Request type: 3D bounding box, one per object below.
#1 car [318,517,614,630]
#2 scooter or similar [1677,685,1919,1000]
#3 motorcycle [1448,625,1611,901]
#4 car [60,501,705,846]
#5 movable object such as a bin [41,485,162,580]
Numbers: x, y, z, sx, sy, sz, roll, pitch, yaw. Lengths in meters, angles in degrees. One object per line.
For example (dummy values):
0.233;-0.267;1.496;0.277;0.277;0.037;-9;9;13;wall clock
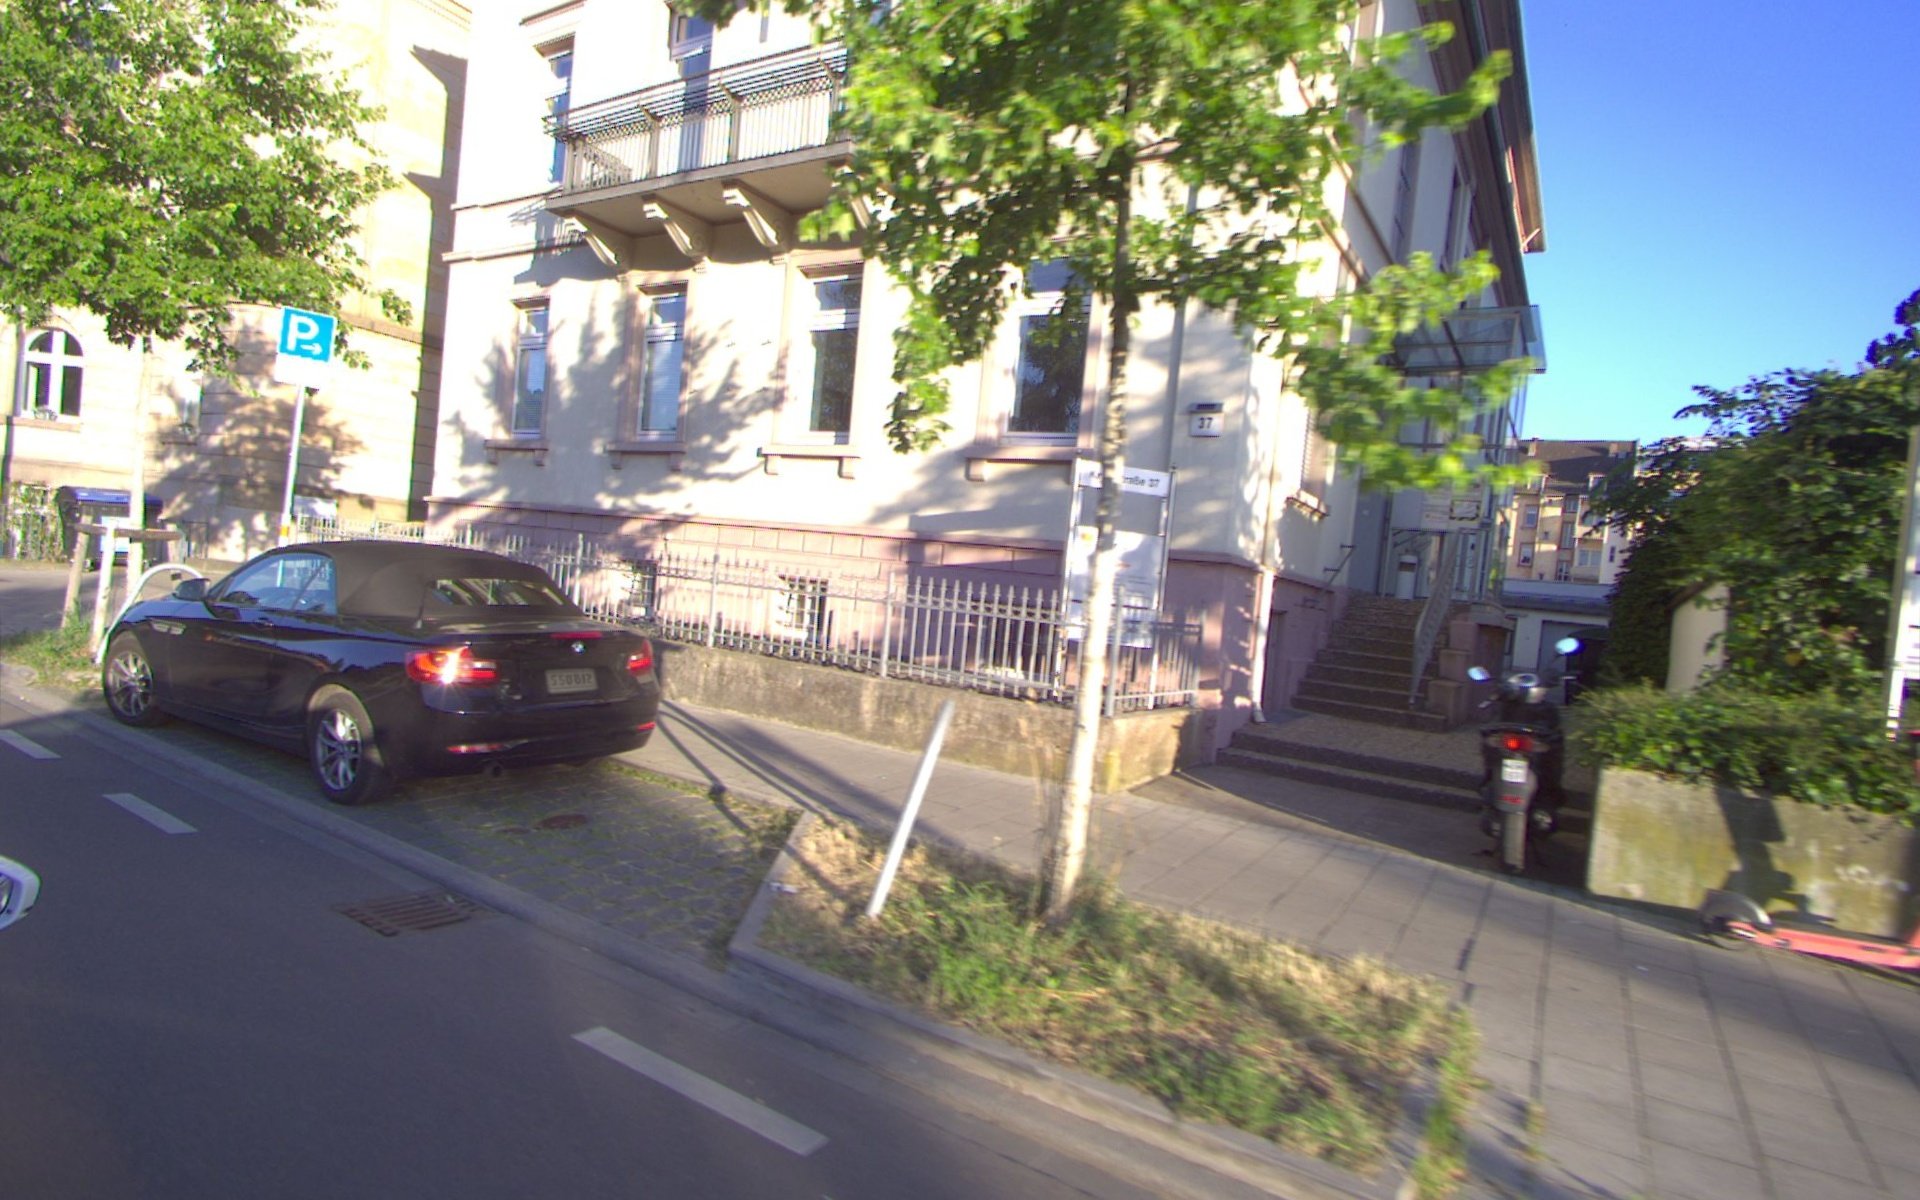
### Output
-8.469;-0.398;17.592;1.886;1.591;4.193;7;2;34;car
4.186;1.111;4.707;1.188;1.274;0.491;6;0;29;scooter or similar
3.518;0.912;6.279;0.615;1.432;1.497;8;4;28;motorcycle
-4.020;0.265;6.812;4.369;1.492;1.792;7;4;29;car
-15.295;-1.189;17.946;1.104;1.480;1.262;7;1;29;movable object such as a bin
